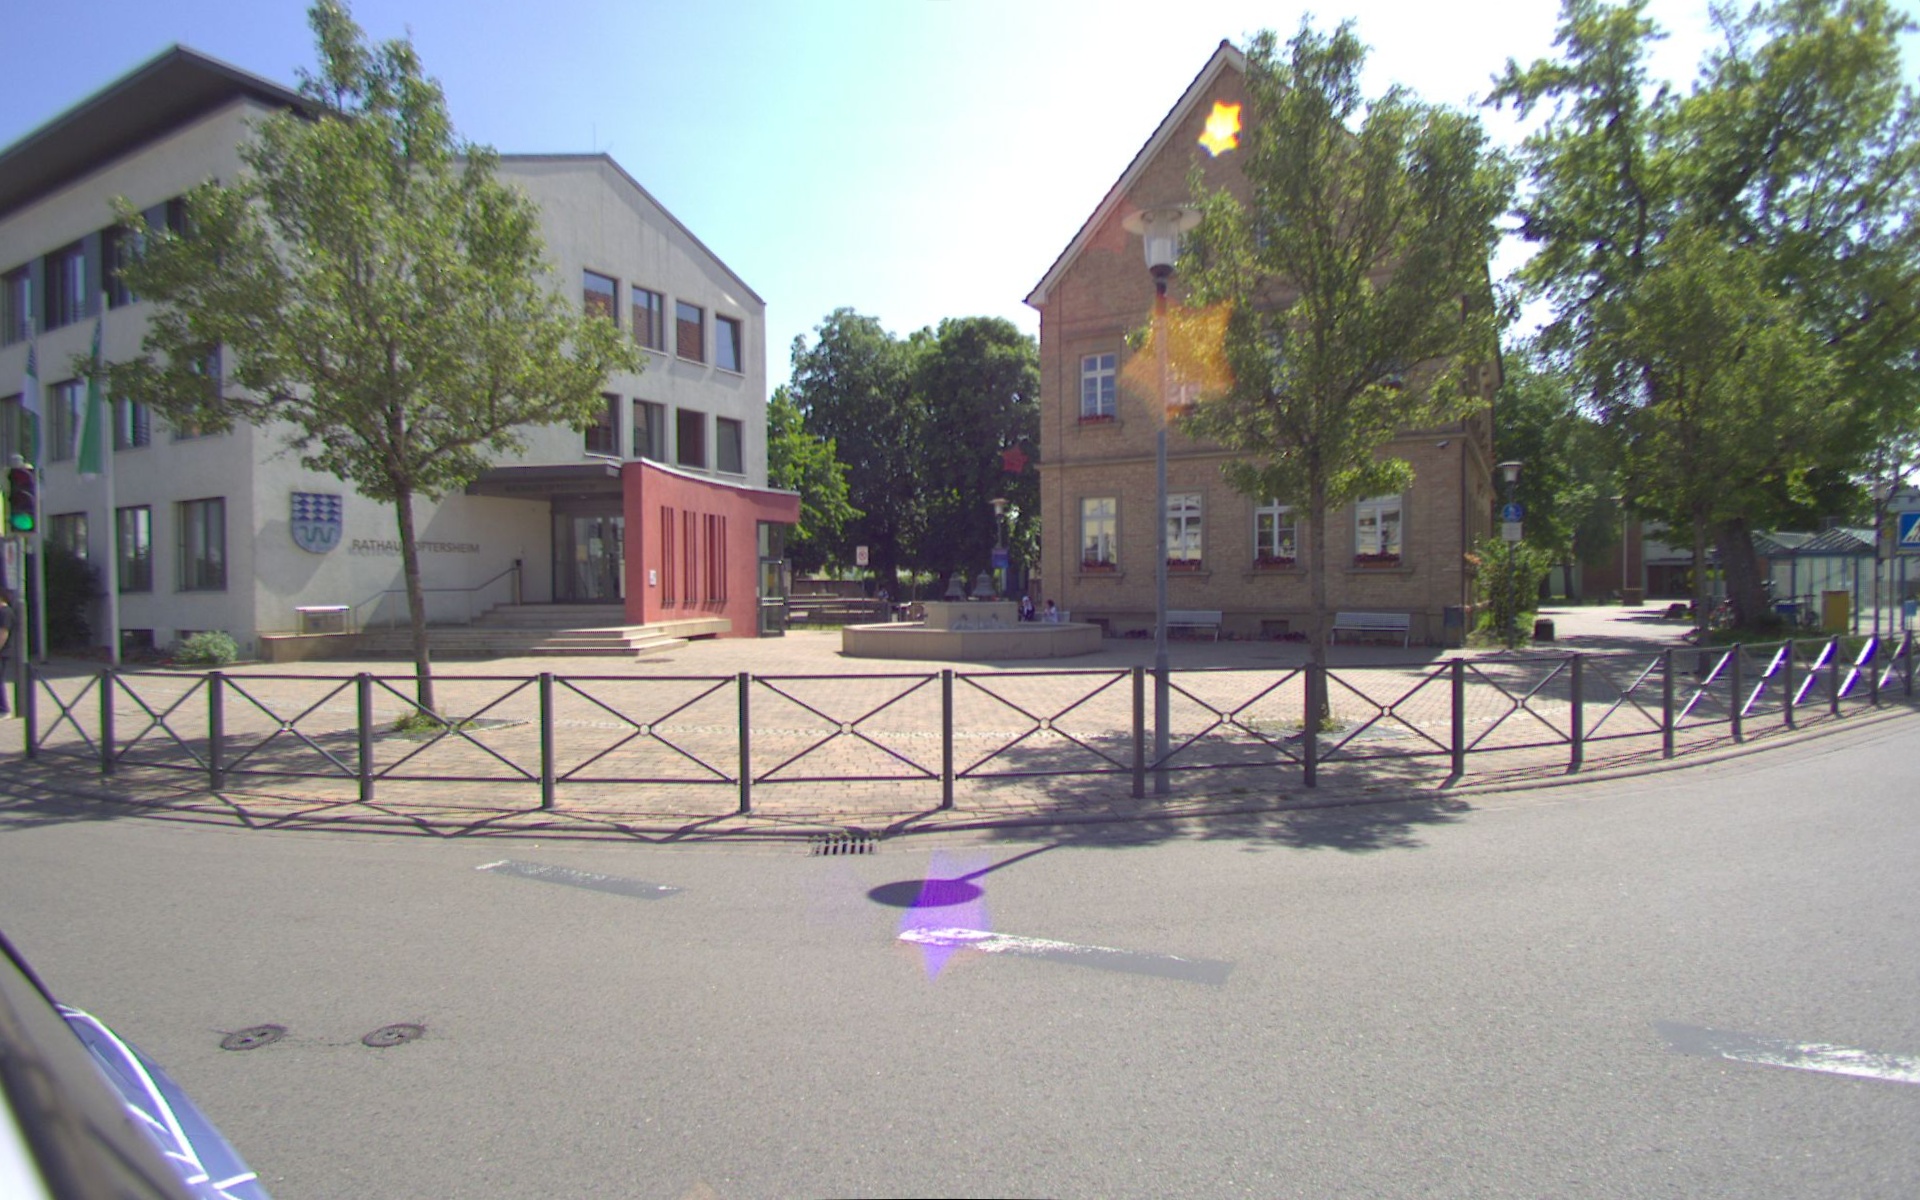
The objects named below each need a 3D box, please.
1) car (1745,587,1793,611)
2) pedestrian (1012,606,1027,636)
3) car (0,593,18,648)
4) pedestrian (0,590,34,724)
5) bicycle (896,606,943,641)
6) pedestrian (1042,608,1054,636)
[{"bbox_3d":[40.575,-0.041,50.747,1.587,1.157,3.034,0,0,44],"label":"car"},{"bbox_3d":[1.653,0.589,28.001,0.364,0.824,0.360,0,0,14],"label":"pedestrian"},{"bbox_3d":[-28.667,0.640,27.628,1.741,1.559,3.961,0,1,29],"label":"car"},{"bbox_3d":[-11.918,0.688,12.509,0.540,1.631,0.559,0,1,-25],"label":"pedestrian"},{"bbox_3d":[-1.271,0.732,32.449,0.578,1.013,1.935,0,2,28],"label":"bicycle"},{"bbox_3d":[2.398,0.598,27.649,0.286,0.738,0.356,0,0,14],"label":"pedestrian"}]
